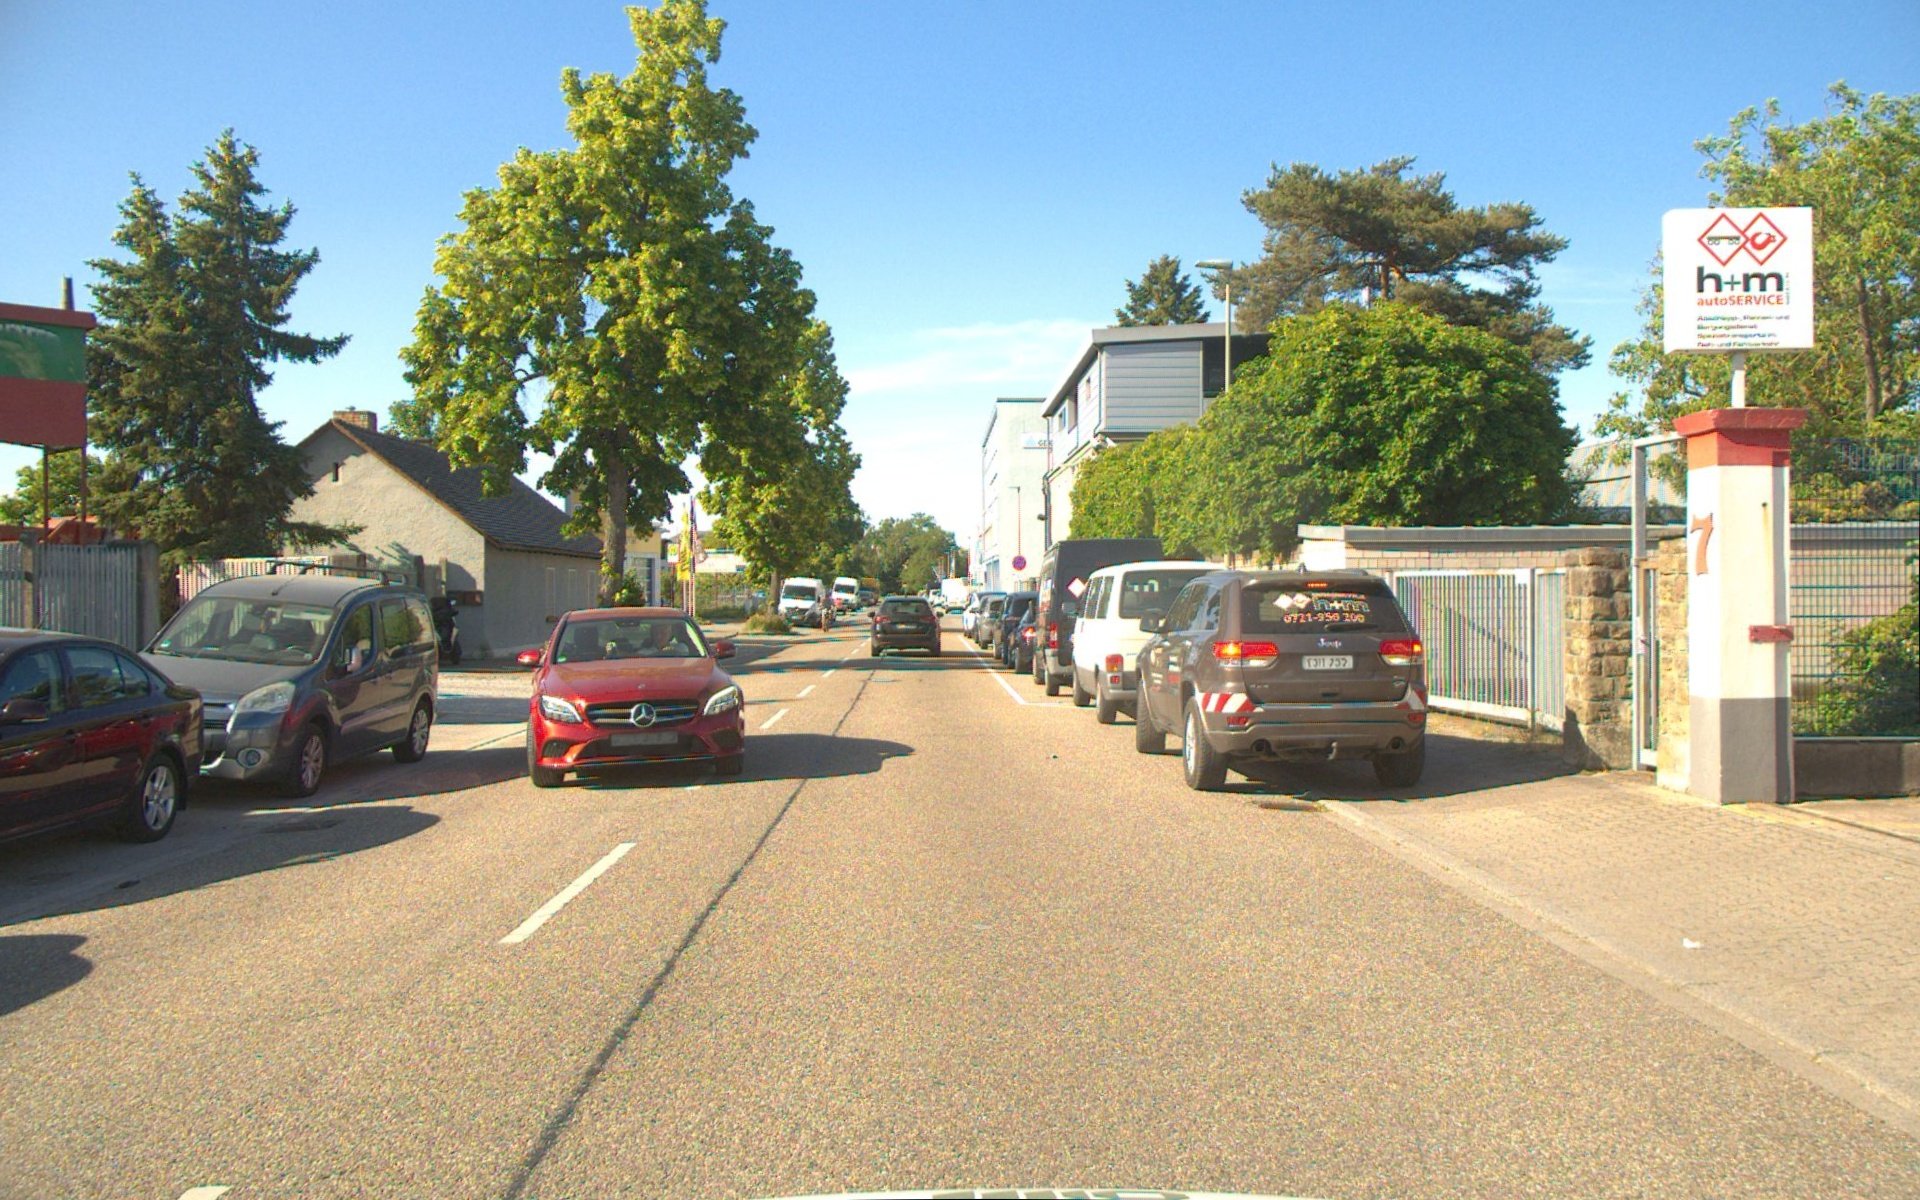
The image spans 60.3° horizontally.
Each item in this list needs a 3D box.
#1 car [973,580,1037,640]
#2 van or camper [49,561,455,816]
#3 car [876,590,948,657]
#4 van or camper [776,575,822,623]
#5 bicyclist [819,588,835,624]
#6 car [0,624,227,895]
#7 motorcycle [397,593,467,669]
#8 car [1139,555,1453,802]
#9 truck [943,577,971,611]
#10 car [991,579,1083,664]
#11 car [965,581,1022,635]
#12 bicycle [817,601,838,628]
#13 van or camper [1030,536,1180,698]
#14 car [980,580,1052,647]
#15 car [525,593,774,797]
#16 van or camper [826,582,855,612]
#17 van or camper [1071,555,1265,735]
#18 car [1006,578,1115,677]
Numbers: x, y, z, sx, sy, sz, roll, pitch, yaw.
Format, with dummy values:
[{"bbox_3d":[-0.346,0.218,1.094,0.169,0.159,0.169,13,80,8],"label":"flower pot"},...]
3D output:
[{"bbox_3d":[1.420,0.293,53.508,1.880,1.857,4.079,0,0,-1],"label":"car"},{"bbox_3d":[-6.227,0.702,15.163,1.852,1.959,4.266,-1,0,0],"label":"van or camper"},{"bbox_3d":[-1.173,0.555,41.826,1.677,1.559,3.687,-1,1,0],"label":"car"},{"bbox_3d":[-8.472,-0.077,87.443,2.278,2.403,6.522,0,0,-5],"label":"van or camper"},{"bbox_3d":[-5.915,0.261,73.756,0.681,1.566,0.634,-1,0,-3],"label":"bicyclist"},{"bbox_3d":[-6.370,0.956,10.324,1.659,1.494,4.174,-1,1,1],"label":"car"},{"bbox_3d":[-10.589,0.605,33.224,0.761,1.470,2.038,-1,0,-1],"label":"motorcycle"},{"bbox_3d":[2.780,0.580,14.619,1.880,1.857,4.079,0,0,-1],"label":"car"},{"bbox_3d":[-0.262,-0.445,120.004,1.953,2.327,6.954,0,0,-1],"label":"truck"},{"bbox_3d":[1.739,0.460,38.652,1.880,1.857,4.079,0,0,-1],"label":"car"},{"bbox_3d":[1.182,0.271,59.969,1.880,1.857,4.079,0,0,-1],"label":"car"},{"bbox_3d":[-5.913,0.644,73.928,0.812,1.173,2.939,-1,0,-3],"label":"bicycle"},{"bbox_3d":[2.209,0.230,26.242,1.953,2.351,3.999,0,0,-1],"label":"van or camper"},{"bbox_3d":[1.595,0.360,48.341,1.880,1.857,4.079,0,0,-1],"label":"car"},{"bbox_3d":[-2.984,0.743,15.236,1.846,1.511,4.026,-2,1,-16],"label":"car"},{"bbox_3d":[-9.920,-0.254,136.623,2.278,2.403,6.522,0,0,-5],"label":"van or camper"},{"bbox_3d":[2.528,0.500,21.063,1.880,2.055,4.079,0,0,-1],"label":"van or camper"},{"bbox_3d":[1.973,0.504,33.467,1.880,1.857,4.079,0,0,-1],"label":"car"}]
